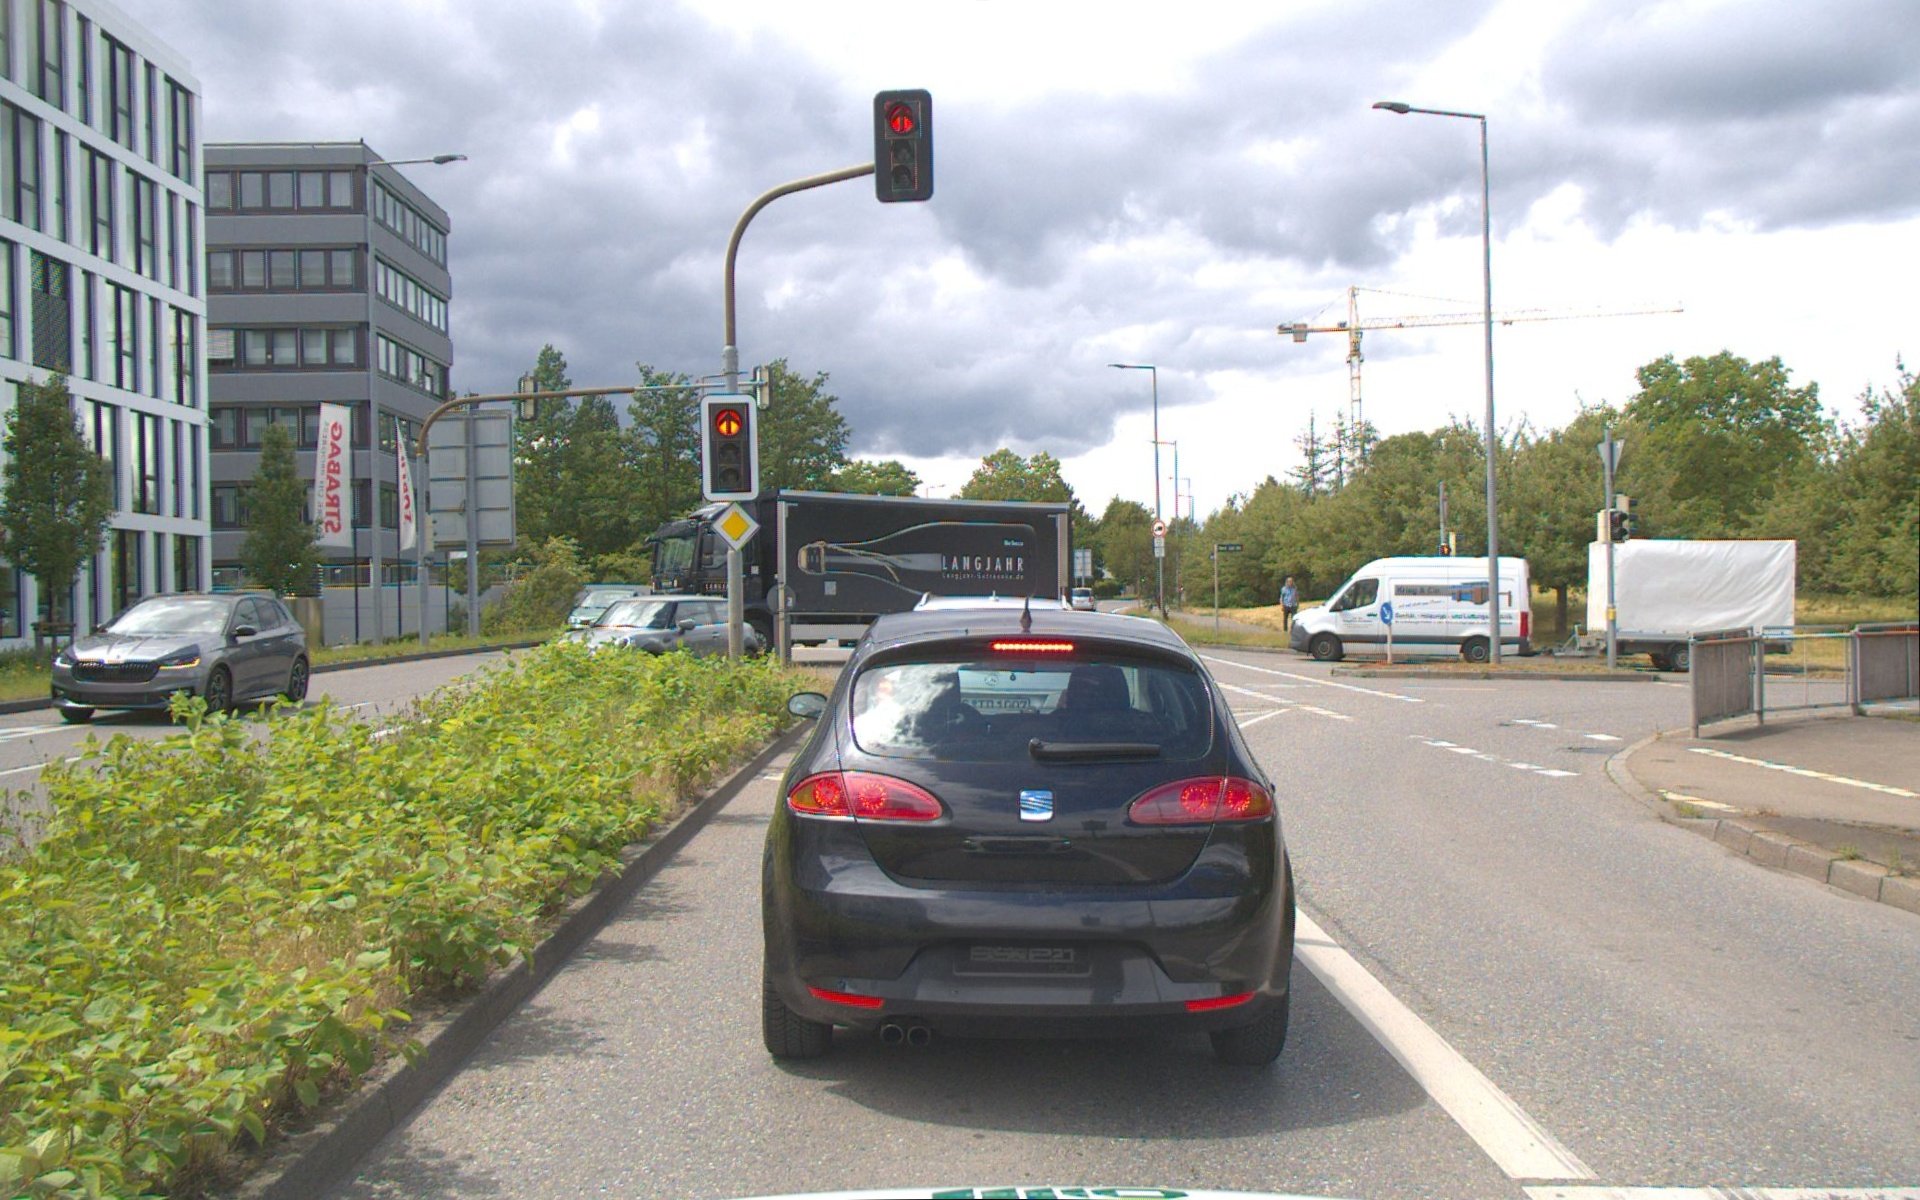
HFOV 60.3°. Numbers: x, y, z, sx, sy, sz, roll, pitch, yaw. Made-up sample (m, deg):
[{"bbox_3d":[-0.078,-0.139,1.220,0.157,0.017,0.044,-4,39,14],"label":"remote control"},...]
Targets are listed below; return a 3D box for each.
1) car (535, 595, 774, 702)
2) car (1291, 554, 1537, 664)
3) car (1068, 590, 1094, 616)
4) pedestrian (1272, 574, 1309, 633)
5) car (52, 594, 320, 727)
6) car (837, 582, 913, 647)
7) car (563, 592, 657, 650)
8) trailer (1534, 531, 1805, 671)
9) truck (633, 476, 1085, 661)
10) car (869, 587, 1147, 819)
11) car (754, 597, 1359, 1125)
[{"bbox_3d":[-4.449,0.667,24.587,1.656,1.455,3.632,-1,0,26],"label":"car"},{"bbox_3d":[11.197,0.192,40.785,5.694,2.562,2.134,1,0,19],"label":"car"},{"bbox_3d":[7.838,0.222,106.707,1.632,1.624,4.002,1,0,5],"label":"car"},{"bbox_3d":[10.432,0.120,52.198,0.707,1.824,1.038,1,-1,-18],"label":"pedestrian"},{"bbox_3d":[-9.155,0.651,19.893,1.522,1.407,3.778,0,1,-2],"label":"car"},{"bbox_3d":[-2.321,0.358,46.168,1.783,1.716,4.646,1,1,1],"label":"car"},{"bbox_3d":[-9.130,0.520,43.409,1.572,1.457,3.753,0,0,1],"label":"car"},{"bbox_3d":[16.730,0.011,39.312,5.449,3.127,2.501,1,0,10],"label":"trailer"},{"bbox_3d":[-2.035,-0.566,35.857,9.400,3.579,3.144,1,0,-32],"label":"truck"},{"bbox_3d":[0.331,0.685,12.720,1.797,1.493,3.751,1,0,0],"label":"car"},{"bbox_3d":[0.253,0.728,6.349,1.676,1.442,3.459,1,0,-1],"label":"car"}]
